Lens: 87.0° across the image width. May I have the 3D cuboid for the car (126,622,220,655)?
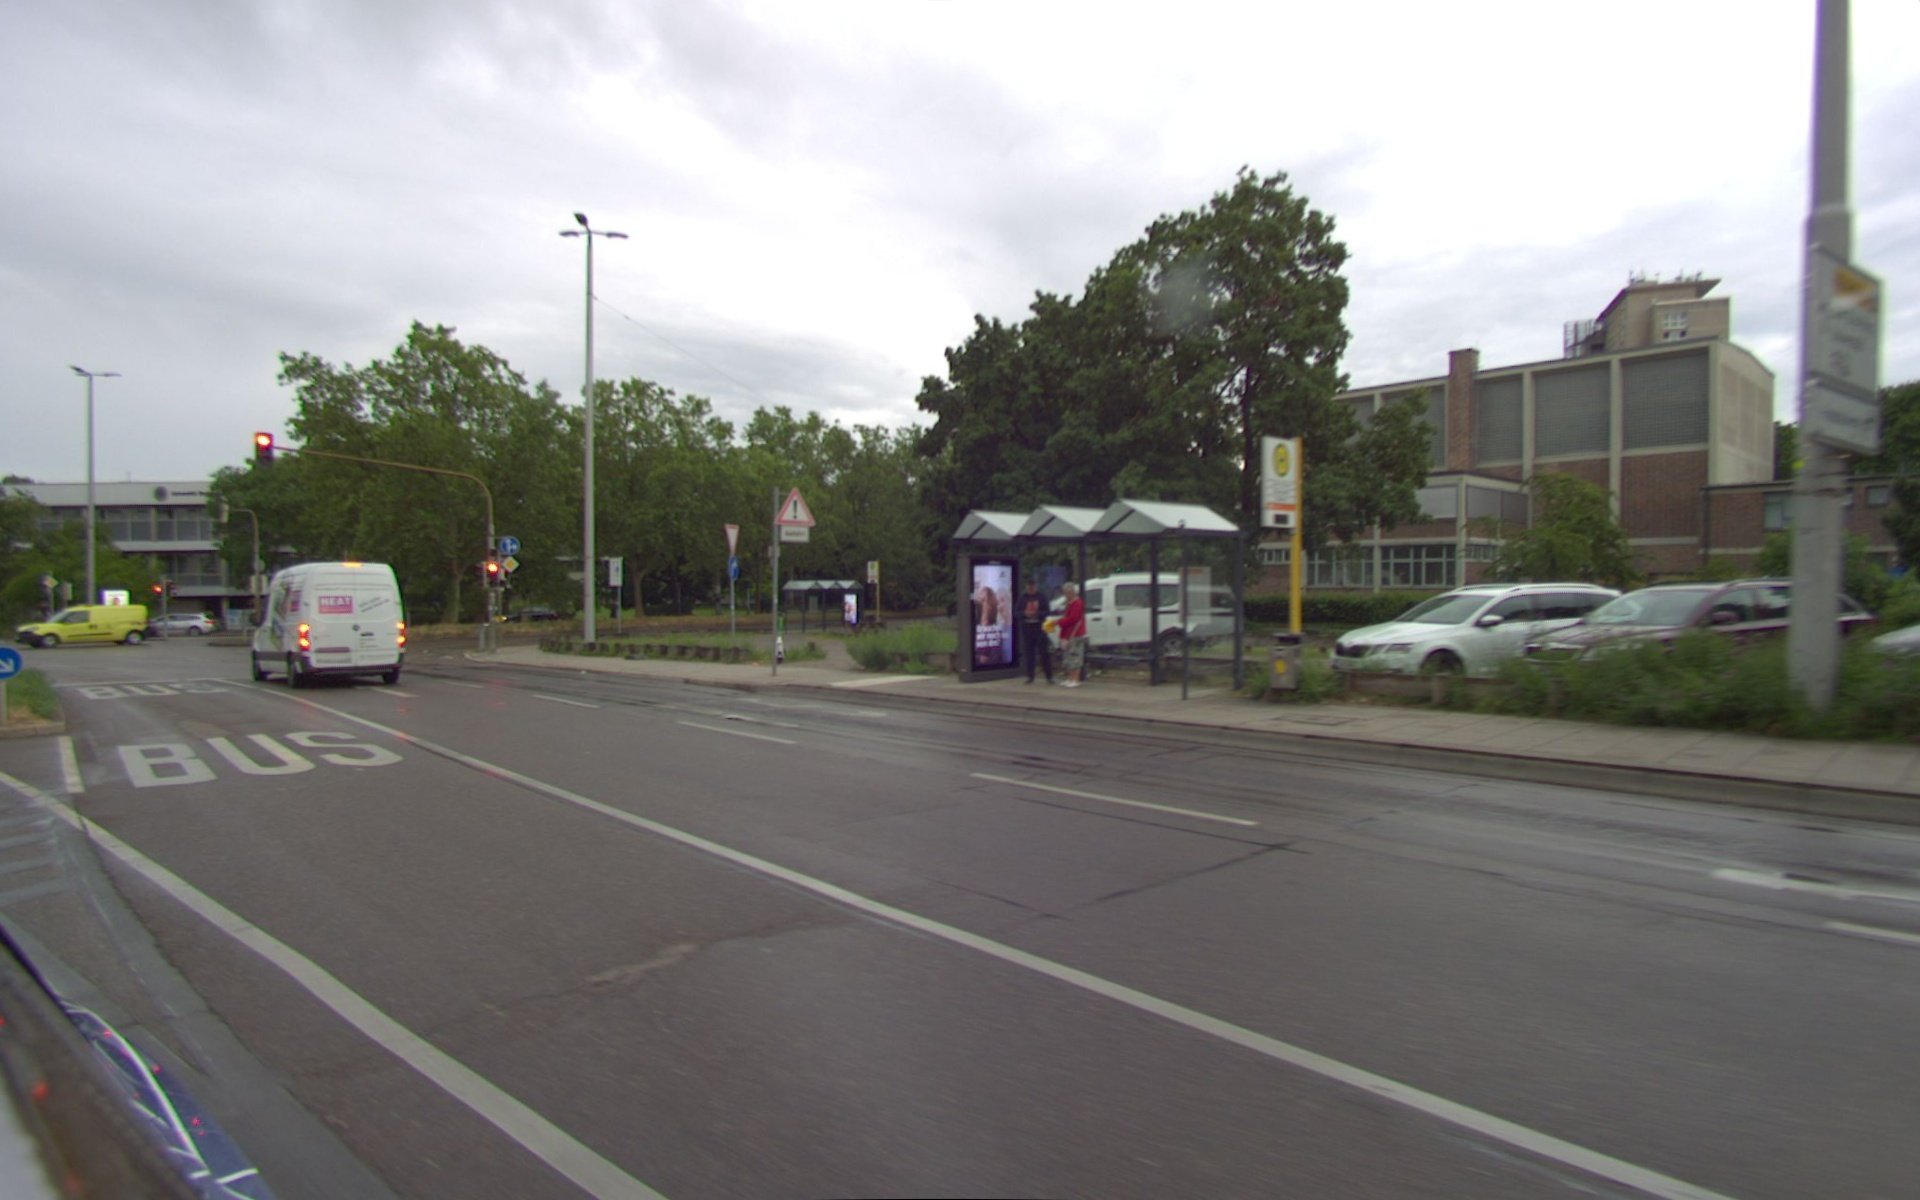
[{"bbox_3d":[-48.568,2.346,62.587,4.272,1.925,2.084,0,-1,-26],"label":"car"}]

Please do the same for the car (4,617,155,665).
[{"bbox_3d":[-39.812,1.798,45.874,2.116,2.023,4.772,-2,-1,31],"label":"car"}]

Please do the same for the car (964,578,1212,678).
[{"bbox_3d":[2.450,0.523,20.355,4.657,1.768,2.016,-2,1,0],"label":"car"}]

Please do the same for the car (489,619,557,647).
[{"bbox_3d":[-31.729,2.396,73.463,4.273,1.925,2.083,0,-2,-31],"label":"car"}]

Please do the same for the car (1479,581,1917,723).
[{"bbox_3d":[8.835,0.533,12.179,4.505,1.359,1.910,-2,1,-17],"label":"car"}]

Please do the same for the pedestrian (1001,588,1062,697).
[{"bbox_3d":[1.159,0.668,16.438,0.672,1.708,0.677,-1,1,40],"label":"pedestrian"}]

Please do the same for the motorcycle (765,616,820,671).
[{"bbox_3d":[-4.004,1.024,24.178,1.264,1.256,0.510,-1,1,34],"label":"motorcycle"}]

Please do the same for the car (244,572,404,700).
[{"bbox_3d":[-14.475,0.792,22.877,1.960,2.548,5.636,0,-2,-44],"label":"car"}]

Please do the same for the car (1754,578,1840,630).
[{"bbox_3d":[35.493,0.139,42.901,3.936,2.029,2.004,-2,1,-38],"label":"car"}]

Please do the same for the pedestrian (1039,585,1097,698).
[{"bbox_3d":[1.694,0.634,15.865,0.642,1.708,0.621,-1,1,40],"label":"pedestrian"}]

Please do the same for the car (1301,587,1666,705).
[{"bbox_3d":[7.321,0.579,14.323,4.308,1.359,1.909,-2,1,-12],"label":"car"}]
